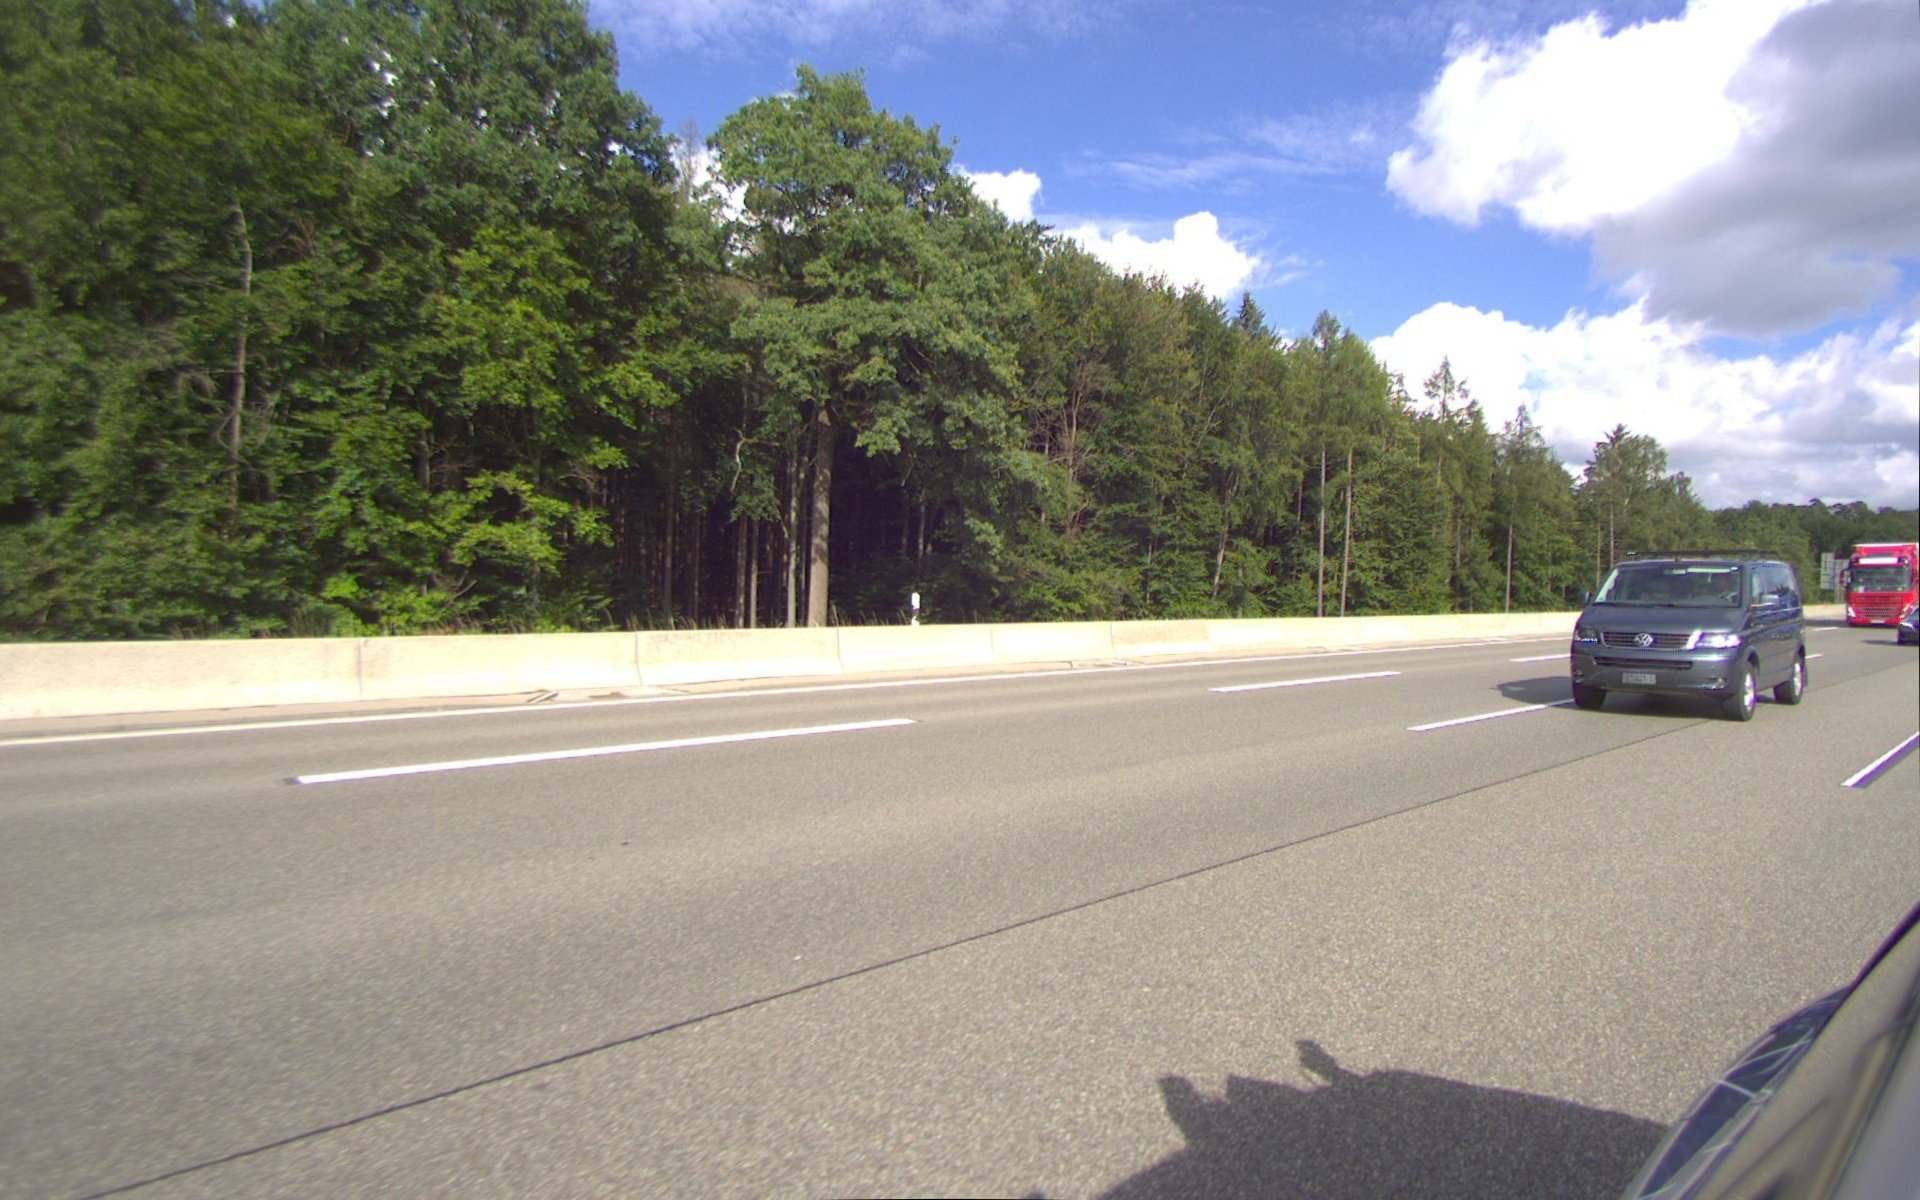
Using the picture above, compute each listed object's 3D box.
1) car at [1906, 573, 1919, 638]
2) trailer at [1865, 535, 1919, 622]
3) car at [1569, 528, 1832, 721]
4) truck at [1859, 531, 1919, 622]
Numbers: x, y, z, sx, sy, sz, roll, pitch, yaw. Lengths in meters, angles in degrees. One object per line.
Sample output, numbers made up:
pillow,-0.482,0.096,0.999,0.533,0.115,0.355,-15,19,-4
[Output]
car,31.981,0.170,32.391,3.928,2.039,1.997,0,0,-40
trailer,50.968,-1.178,53.810,14.128,4.171,2.529,-1,1,-41
car,10.244,0.245,13.836,4.875,2.192,1.925,0,1,-42
truck,45.941,-1.146,49.379,4.572,4.255,2.530,-1,1,-41
